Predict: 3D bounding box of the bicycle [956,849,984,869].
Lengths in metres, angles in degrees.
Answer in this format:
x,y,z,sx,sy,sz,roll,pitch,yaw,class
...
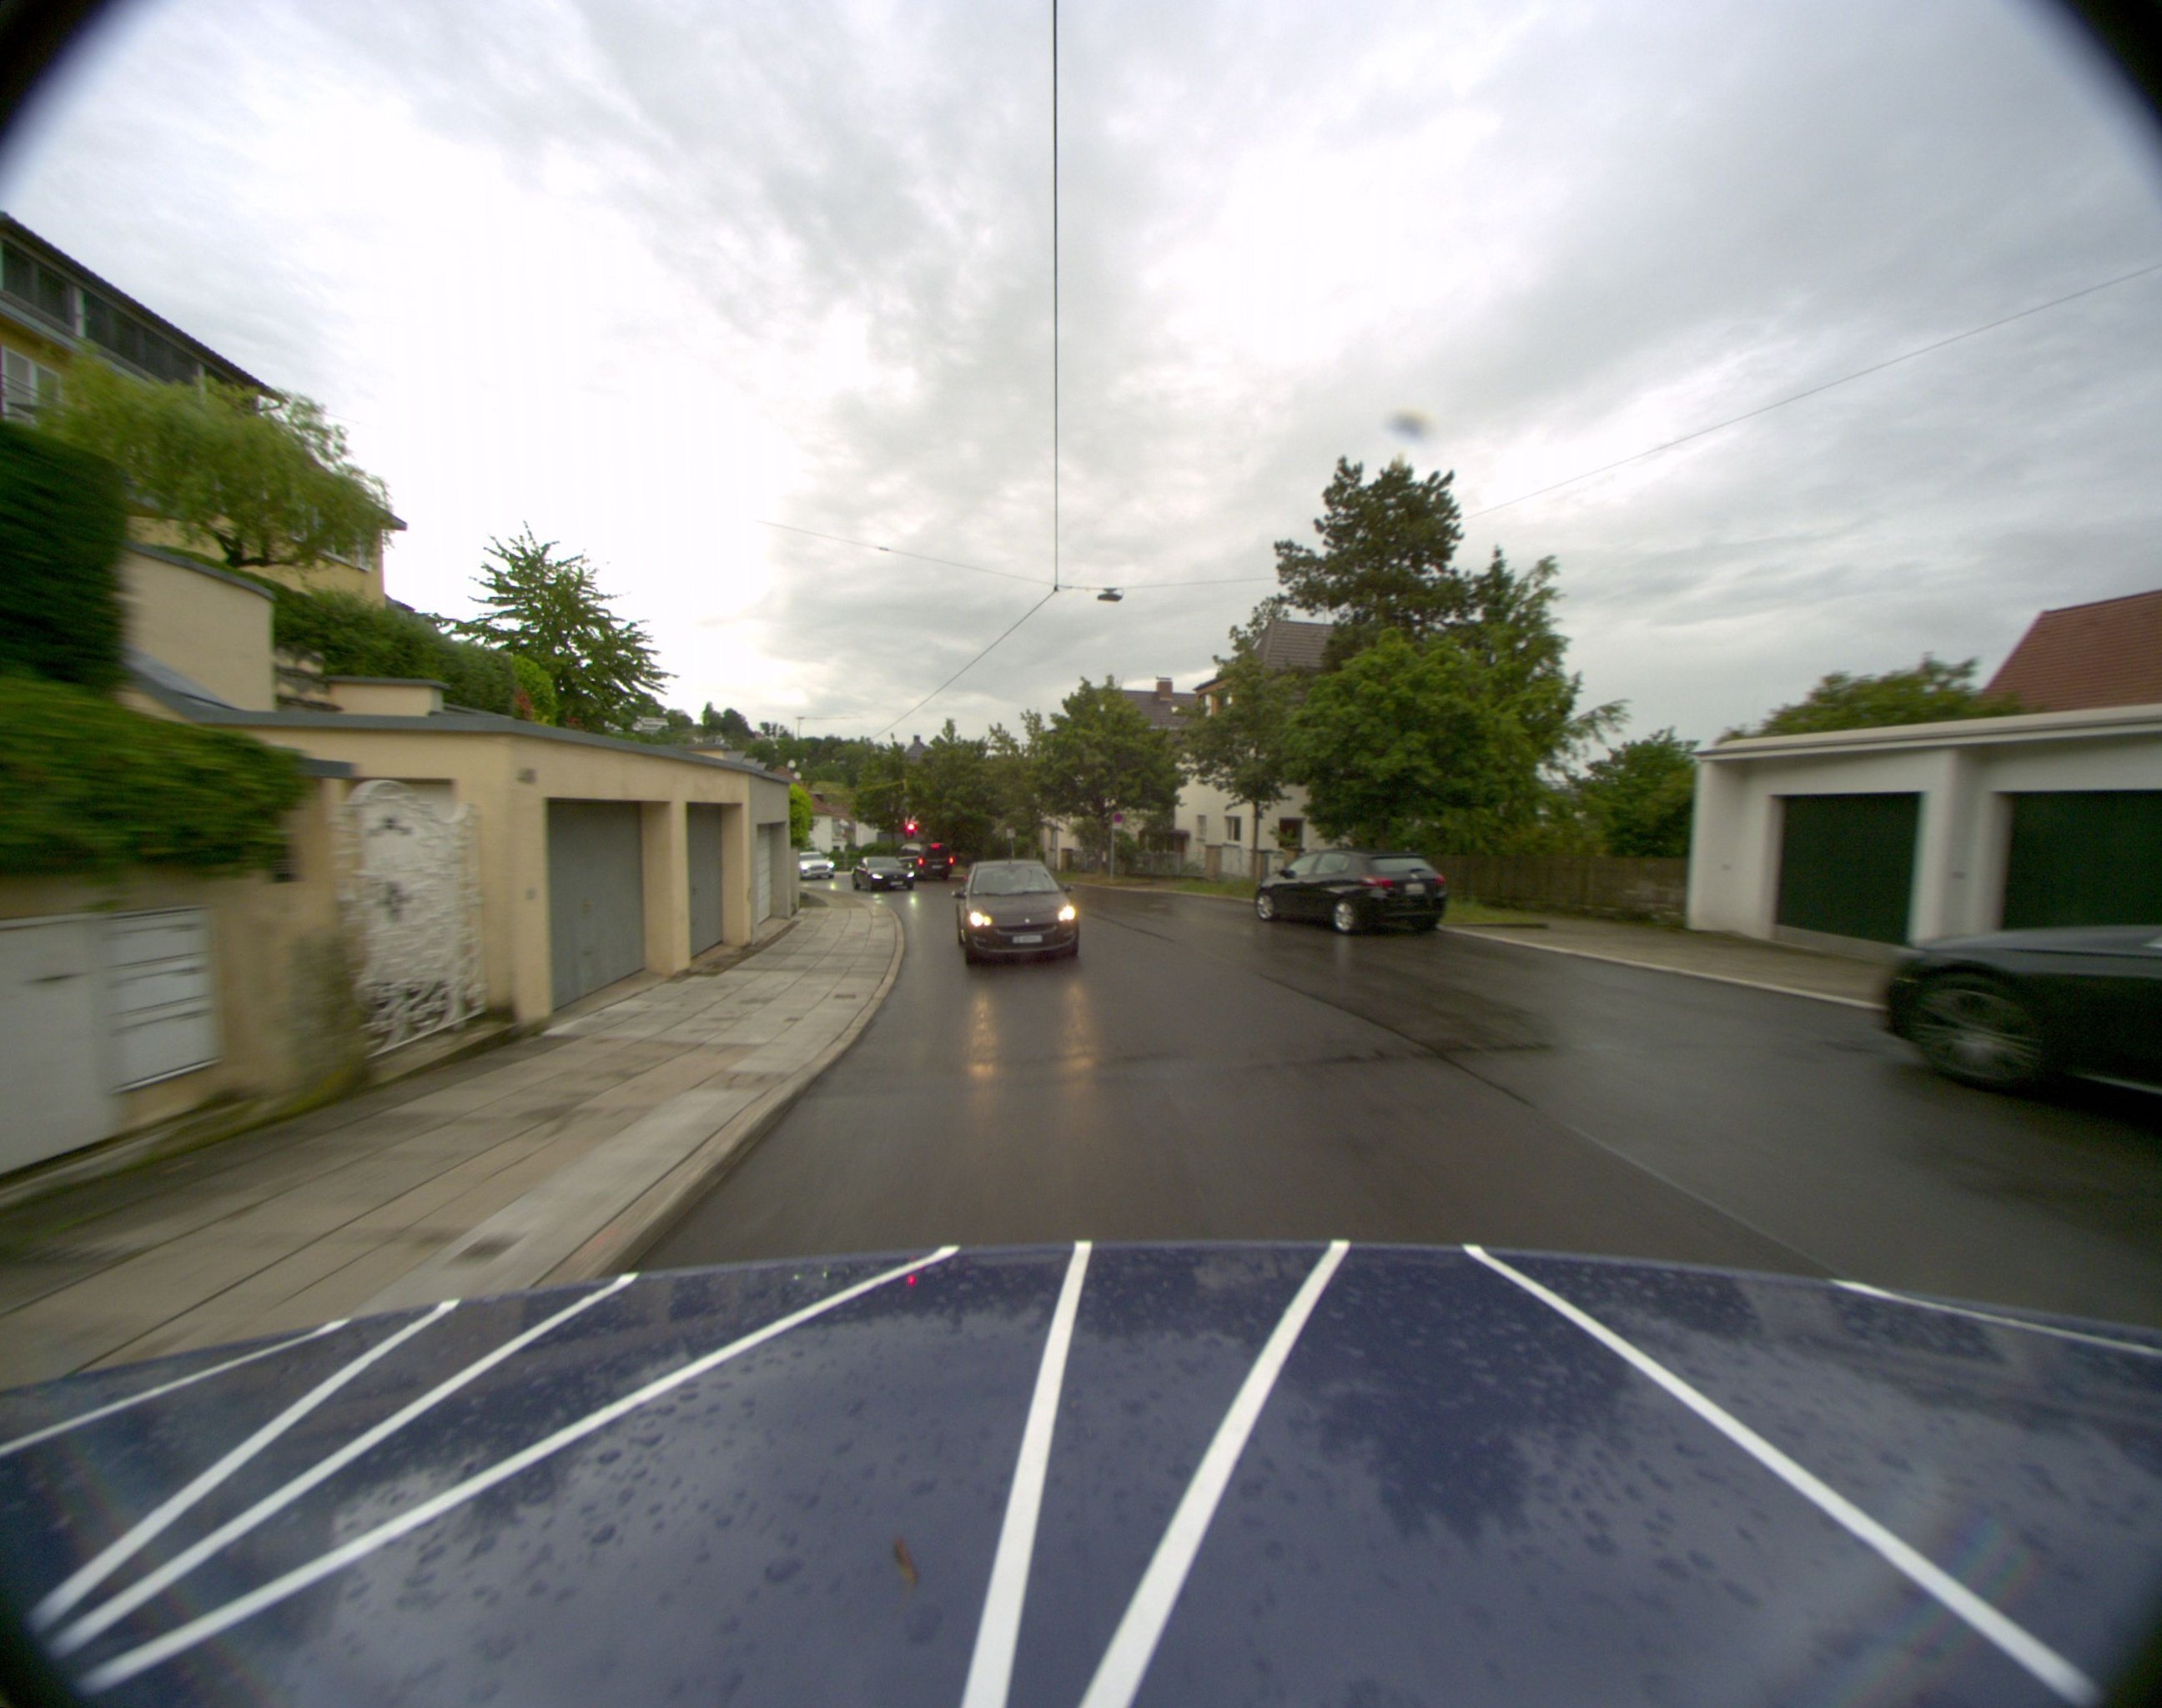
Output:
x,y,z,sx,sy,sz,roll,pitch,yaw,class
-7.555,0.344,51.668,2.267,1.265,0.493,-2,2,44,bicycle

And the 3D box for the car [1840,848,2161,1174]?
x,y,z,sx,sy,sz,roll,pitch,yaw,class
6.123,0.774,2.735,1.871,1.536,4.904,-1,1,0,car

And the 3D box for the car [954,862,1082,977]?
x,y,z,sx,sy,sz,roll,pitch,yaw,class
-1.238,0.902,12.710,1.676,1.457,4.710,0,1,-11,car

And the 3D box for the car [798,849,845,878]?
x,y,z,sx,sy,sz,roll,pitch,yaw,class
-15.890,0.543,46.404,2.004,1.699,4.563,0,1,-27,car

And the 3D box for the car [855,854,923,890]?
x,y,z,sx,sy,sz,roll,pitch,yaw,class
-8.315,0.738,32.707,1.847,1.395,4.061,0,1,-29,car

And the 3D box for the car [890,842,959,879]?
x,y,z,sx,sy,sz,roll,pitch,yaw,class
-8.399,0.307,40.468,1.906,1.878,5.139,0,0,-33,car

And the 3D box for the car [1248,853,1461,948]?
x,y,z,sx,sy,sz,roll,pitch,yaw,class
4.814,0.728,13.993,1.677,1.457,3.888,0,1,-17,car

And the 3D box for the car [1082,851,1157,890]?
x,y,z,sx,sy,sz,roll,pitch,yaw,class
2.278,0.981,45.473,4.002,1.575,1.853,10,0,-9,car
